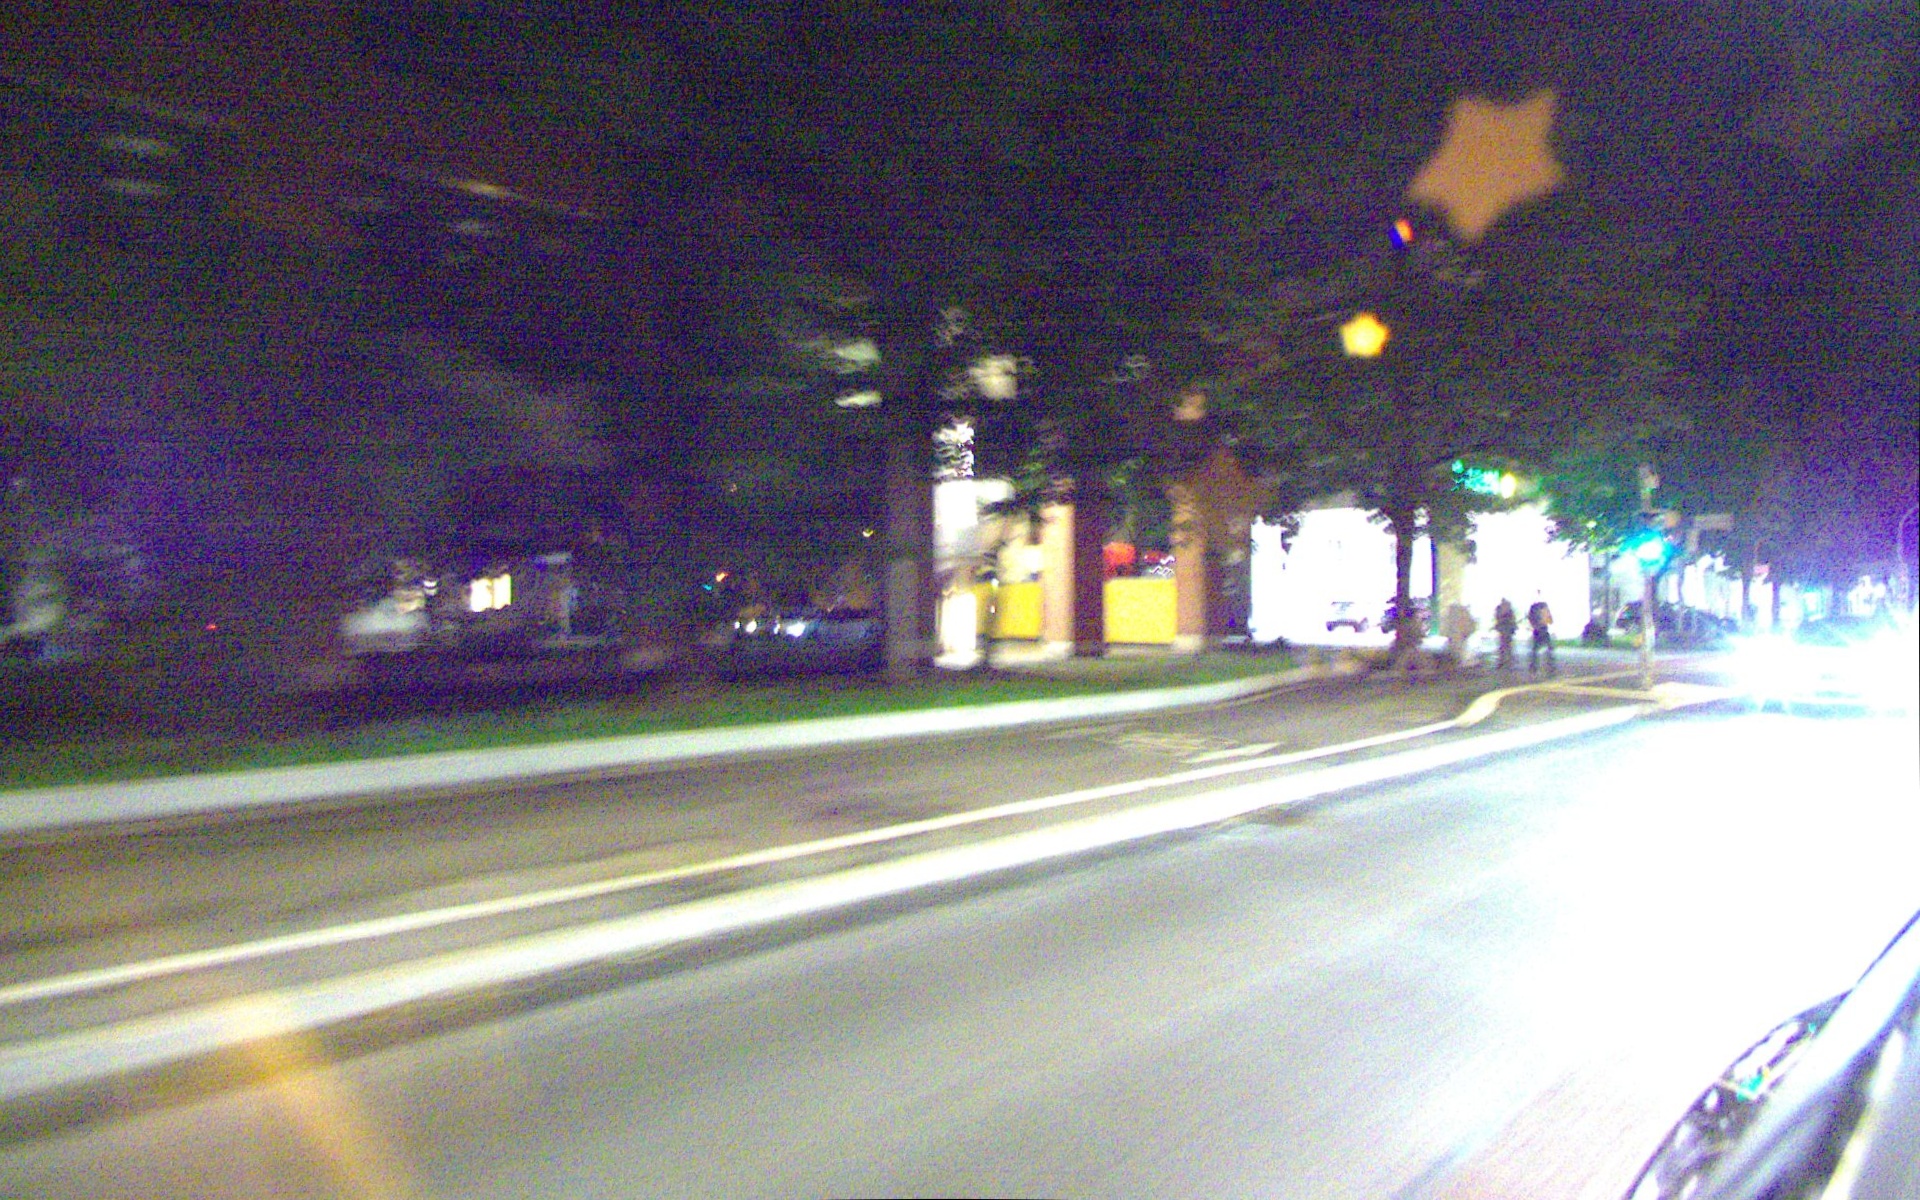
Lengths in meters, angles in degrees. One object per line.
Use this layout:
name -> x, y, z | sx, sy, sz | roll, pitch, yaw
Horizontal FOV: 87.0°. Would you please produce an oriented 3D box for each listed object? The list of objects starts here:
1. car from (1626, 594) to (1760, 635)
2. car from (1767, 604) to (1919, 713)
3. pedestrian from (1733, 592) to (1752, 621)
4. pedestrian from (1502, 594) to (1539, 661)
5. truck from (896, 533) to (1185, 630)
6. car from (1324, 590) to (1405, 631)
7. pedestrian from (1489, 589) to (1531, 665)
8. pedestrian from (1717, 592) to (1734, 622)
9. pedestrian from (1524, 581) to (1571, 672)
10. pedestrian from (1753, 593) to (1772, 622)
car -> 29.573, 0.547, 40.923 | 1.756, 1.472, 4.088 | 0, 1, -41
car -> 14.172, 0.806, 15.752 | 4.419, 1.448, 1.727 | 0, -1, -41
pedestrian -> 49.219, 0.402, 63.656 | 0.953, 1.811, 0.720 | 0, 0, -41
pedestrian -> 13.128, 0.633, 23.717 | 0.622, 1.553, 0.573 | 0, 0, -40
truck -> 3.166, -0.914, 49.449 | 3.077, 4.033, 16.807 | -1, 1, -41
car -> 17.444, 0.415, 43.585 | 3.932, 1.616, 1.729 | -1, 2, -43
pedestrian -> 12.384, 0.590, 22.775 | 0.667, 1.659, 0.622 | 0, 0, -40
pedestrian -> 48.582, 0.434, 64.207 | 0.890, 1.839, 0.675 | 0, 0, -41
pedestrian -> 12.118, 0.530, 20.868 | 0.746, 1.834, 0.623 | 0, 0, -40
pedestrian -> 49.836, 0.445, 62.840 | 0.968, 1.738, 0.736 | 0, 0, -40
